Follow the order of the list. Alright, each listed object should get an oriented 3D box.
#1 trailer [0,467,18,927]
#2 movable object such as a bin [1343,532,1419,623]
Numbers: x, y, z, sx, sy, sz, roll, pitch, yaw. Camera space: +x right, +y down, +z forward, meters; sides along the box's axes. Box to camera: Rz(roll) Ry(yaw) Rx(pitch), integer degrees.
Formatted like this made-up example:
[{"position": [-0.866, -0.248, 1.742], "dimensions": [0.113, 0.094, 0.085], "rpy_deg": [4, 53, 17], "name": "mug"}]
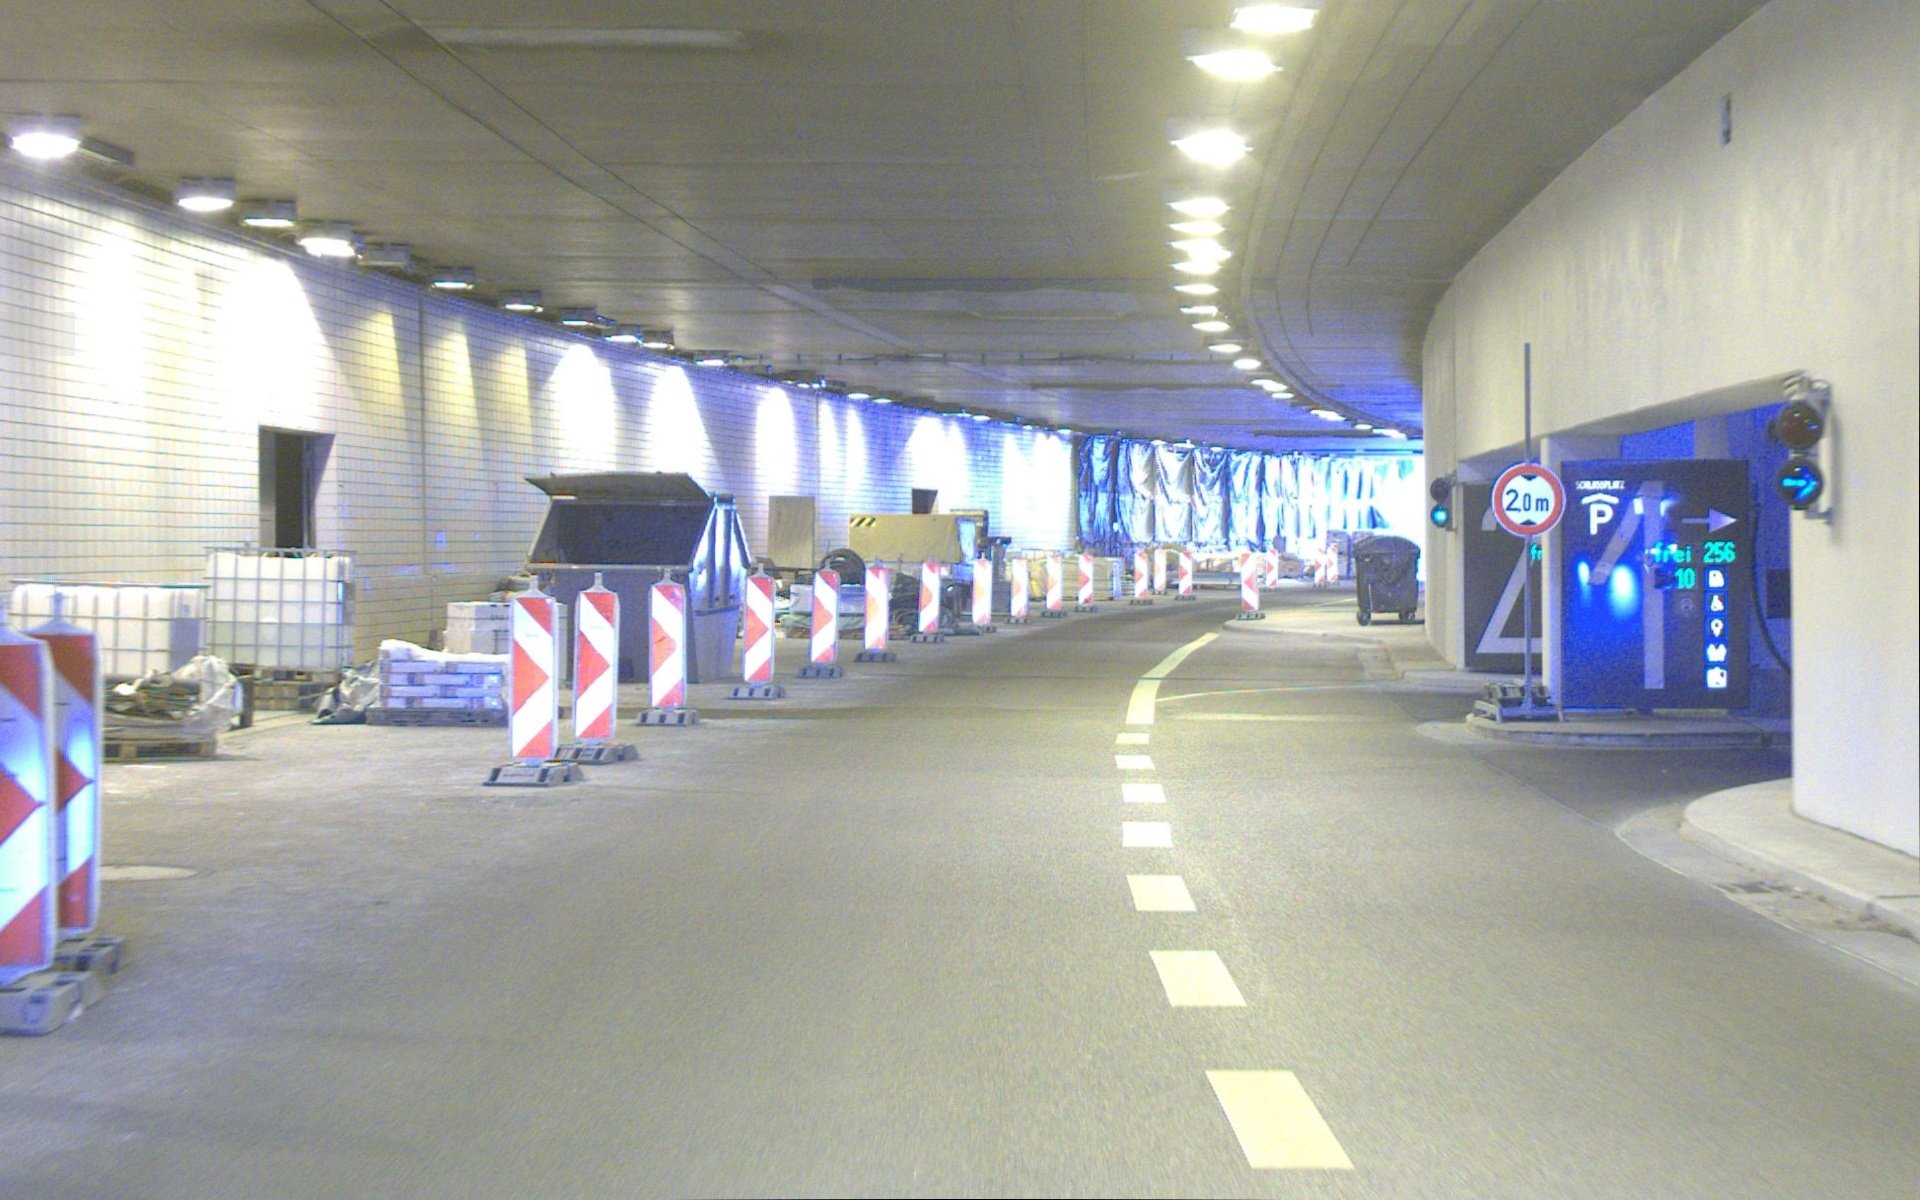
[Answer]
[{"position": [-4.504, 0.383, 12.086], "dimensions": [1.580, 1.792, 2.939], "rpy_deg": [1, 1, -1], "name": "trailer"}, {"position": [6.957, -0.375, 56.739], "dimensions": [1.195, 1.455, 1.605], "rpy_deg": [-2, 1, 8], "name": "movable object such as a bin"}]
